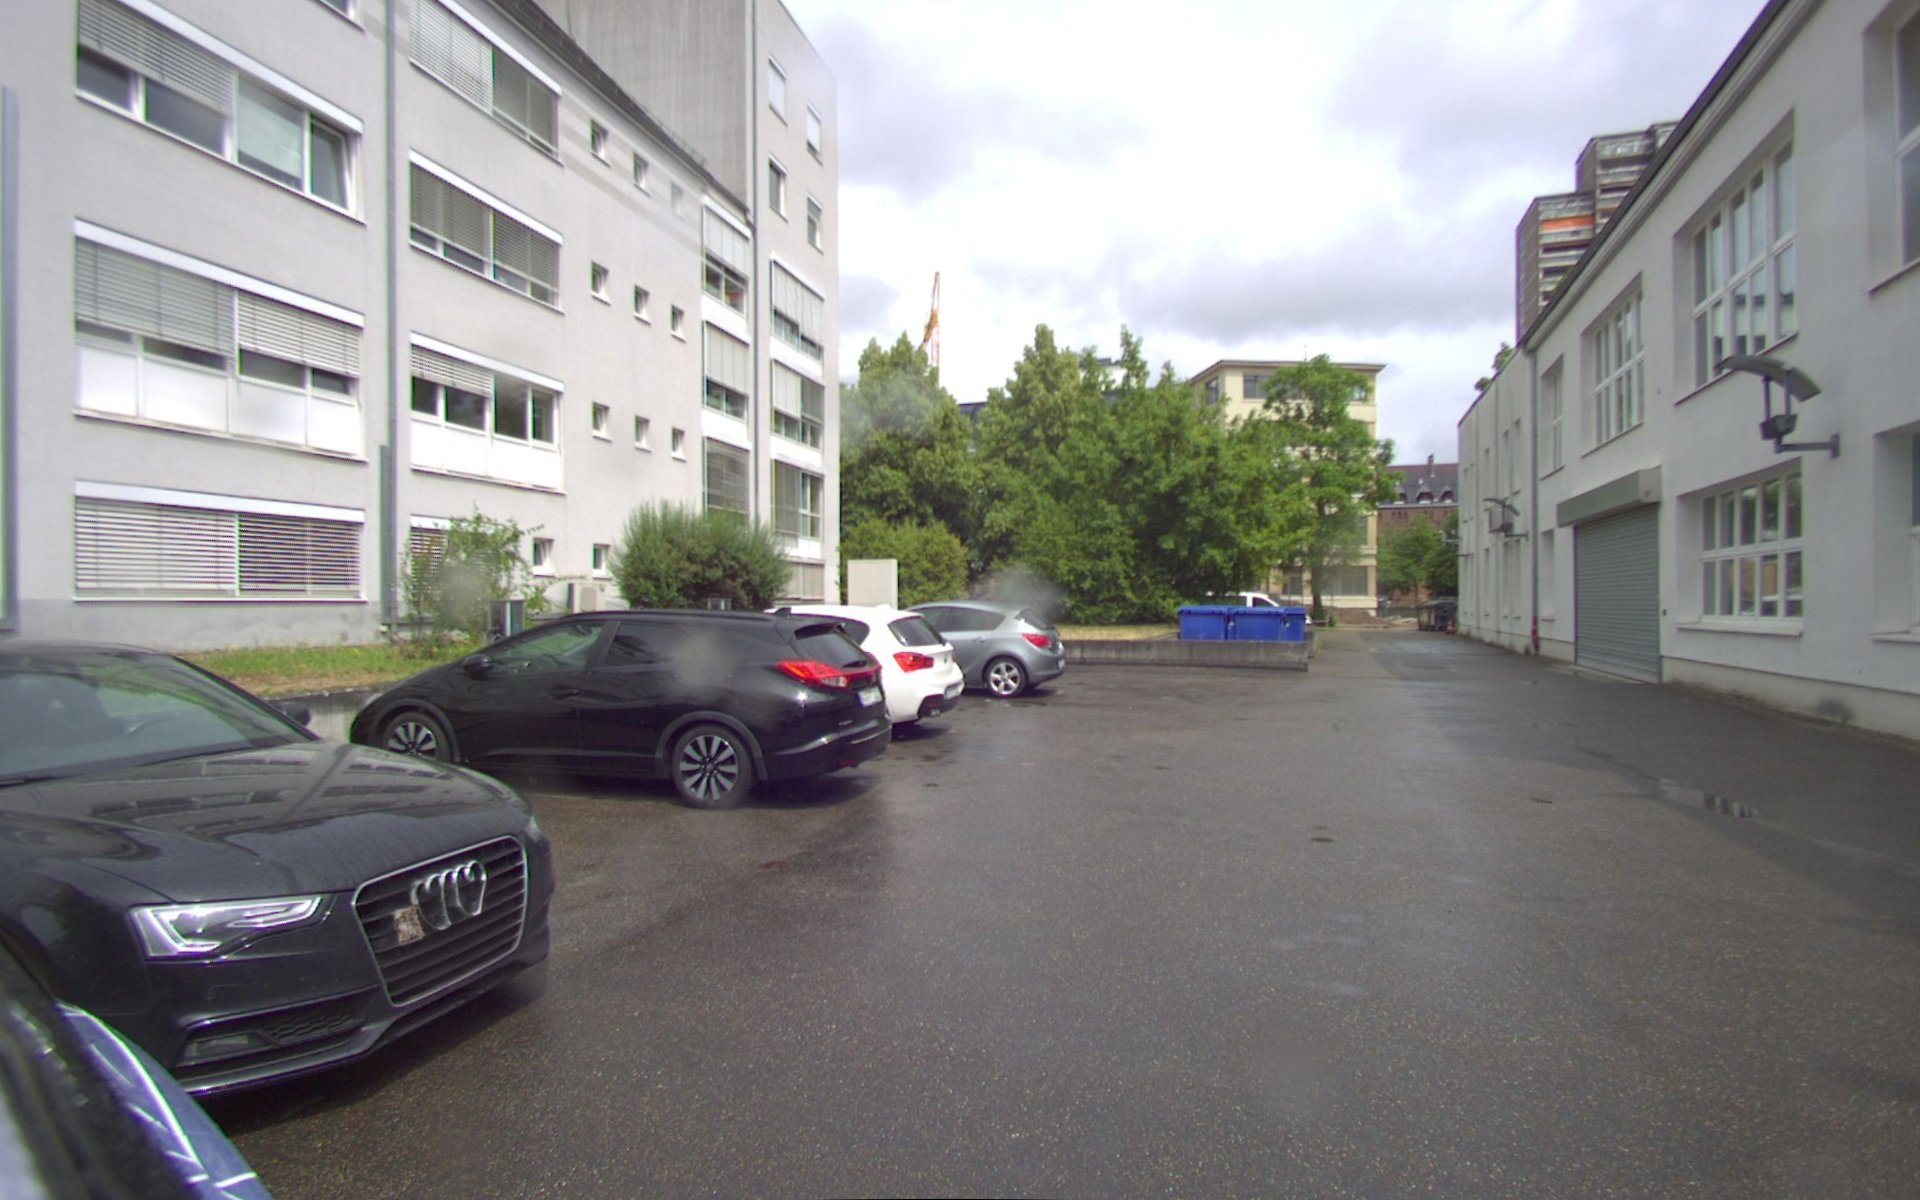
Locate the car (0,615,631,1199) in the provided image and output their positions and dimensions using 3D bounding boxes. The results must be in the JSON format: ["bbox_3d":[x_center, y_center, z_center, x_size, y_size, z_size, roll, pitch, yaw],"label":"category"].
[{"bbox_3d":[-3.693,0.770,3.775,4.487,1.362,1.755,0,0,15],"label":"car"}]

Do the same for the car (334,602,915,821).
[{"bbox_3d":[-2.655,0.764,8.300,4.274,1.453,1.755,0,0,14],"label":"car"}]

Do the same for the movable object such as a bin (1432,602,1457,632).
[{"bbox_3d":[22.170,0.772,46.338,0.972,1.366,0.912,-1,0,23],"label":"movable object such as a bin"}]

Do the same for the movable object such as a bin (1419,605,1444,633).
[{"bbox_3d":[23.640,0.941,50.723,1.060,1.366,1.255,-1,0,23],"label":"movable object such as a bin"}]

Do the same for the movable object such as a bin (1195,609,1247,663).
[{"bbox_3d":[6.735,0.910,26.113,1.124,1.338,1.199,-1,0,23],"label":"movable object such as a bin"}]

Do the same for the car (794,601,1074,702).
[{"bbox_3d":[-0.381,0.769,16.473,4.274,1.453,1.755,0,0,14],"label":"car"}]

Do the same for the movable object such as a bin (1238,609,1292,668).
[{"bbox_3d":[7.269,0.908,24.115,1.088,1.335,1.199,-1,0,23],"label":"movable object such as a bin"}]

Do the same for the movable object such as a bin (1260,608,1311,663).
[{"bbox_3d":[8.252,0.877,25.626,1.124,1.338,1.199,-1,0,23],"label":"movable object such as a bin"}]

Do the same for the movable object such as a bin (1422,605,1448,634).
[{"bbox_3d":[23.103,0.952,49.247,1.057,1.366,1.209,-1,0,23],"label":"movable object such as a bin"}]

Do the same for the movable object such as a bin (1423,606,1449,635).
[{"bbox_3d":[22.581,0.963,47.984,1.039,1.366,1.198,-1,0,23],"label":"movable object such as a bin"}]

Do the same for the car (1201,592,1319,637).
[{"bbox_3d":[11.991,0.590,40.483,4.310,1.740,1.708,-1,0,25],"label":"car"}]

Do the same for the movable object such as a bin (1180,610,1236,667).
[{"bbox_3d":[6.033,0.925,24.603,1.124,1.338,1.199,-1,0,23],"label":"movable object such as a bin"}]

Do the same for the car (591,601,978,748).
[{"bbox_3d":[-1.969,0.754,11.634,4.088,1.453,1.688,0,0,16],"label":"car"}]

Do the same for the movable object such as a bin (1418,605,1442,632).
[{"bbox_3d":[24.141,0.931,51.990,1.060,1.366,1.255,-1,0,23],"label":"movable object such as a bin"}]
